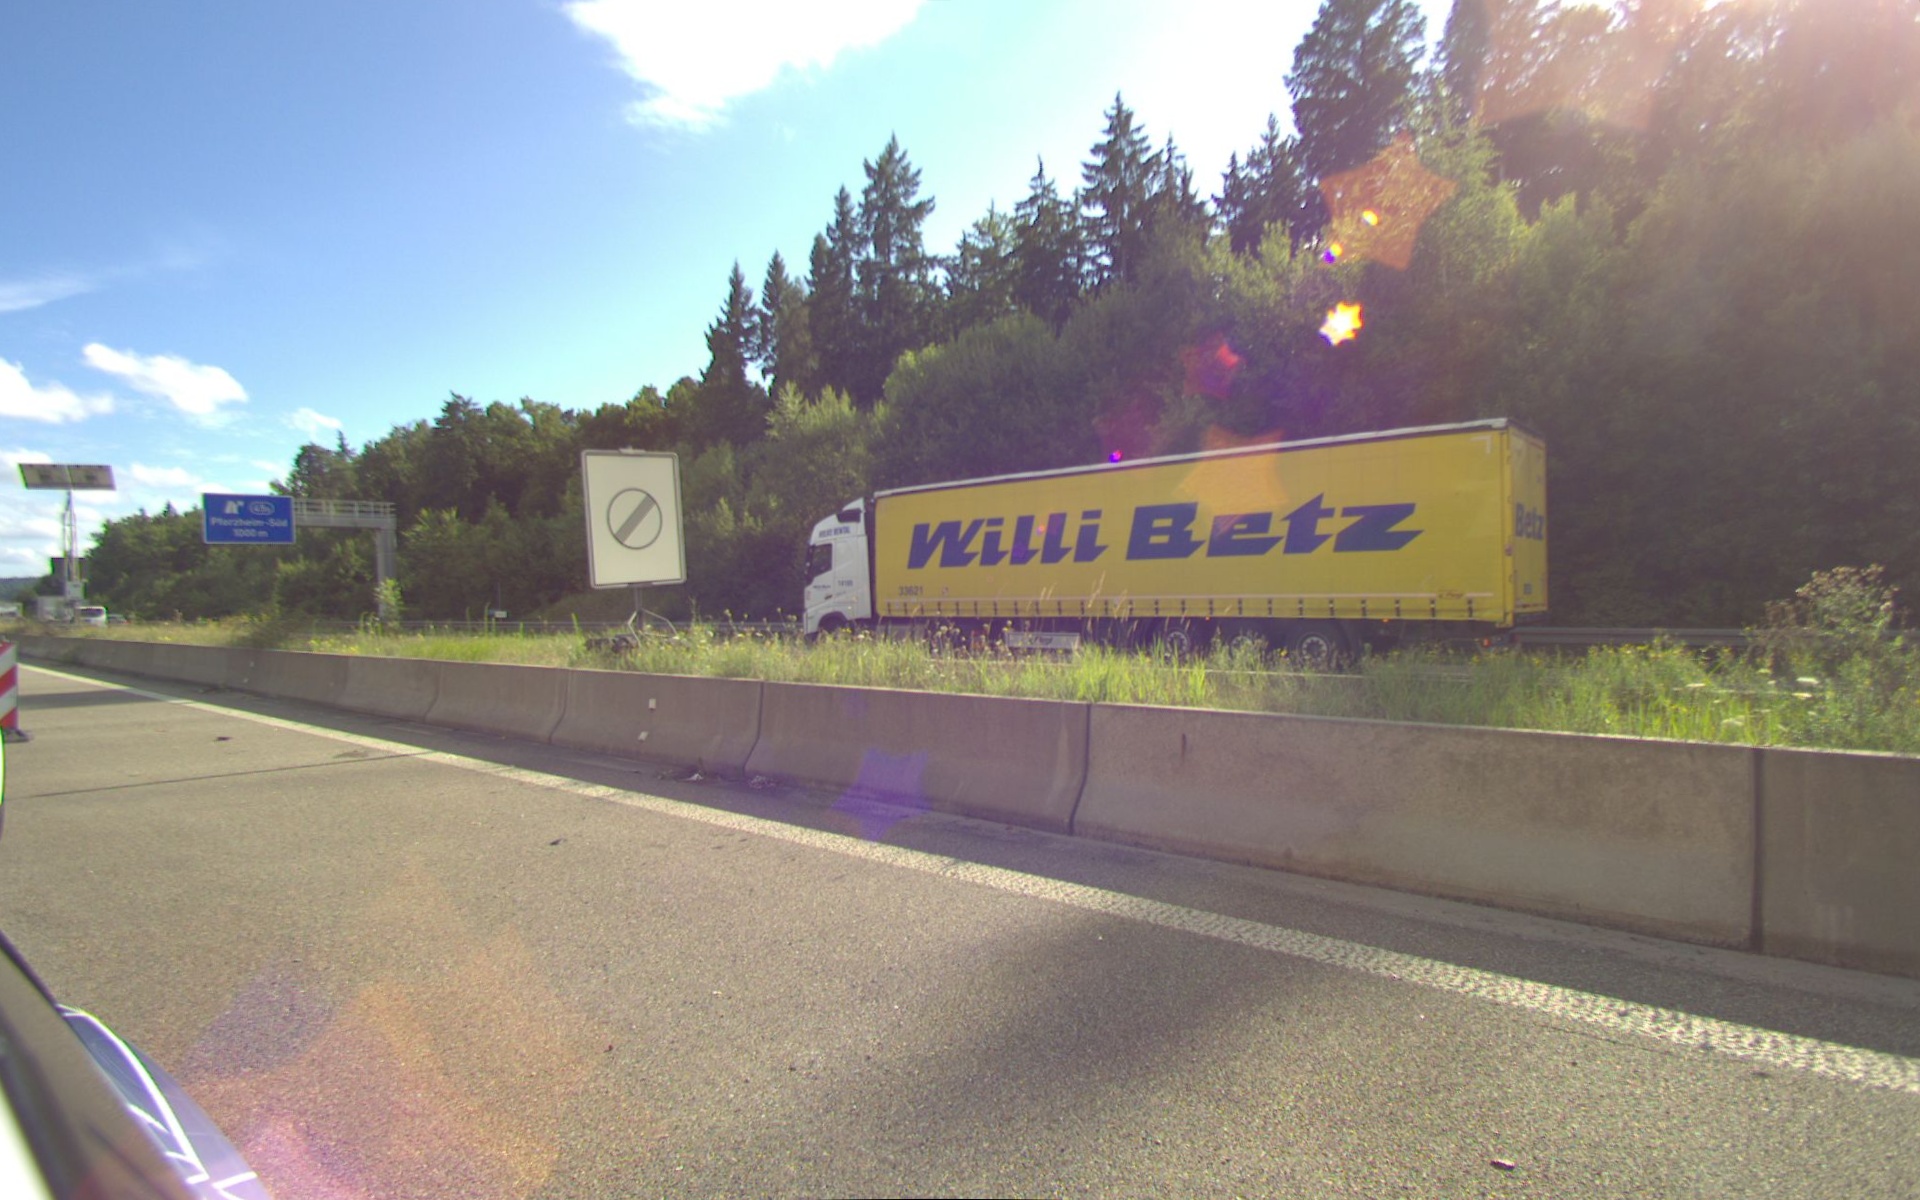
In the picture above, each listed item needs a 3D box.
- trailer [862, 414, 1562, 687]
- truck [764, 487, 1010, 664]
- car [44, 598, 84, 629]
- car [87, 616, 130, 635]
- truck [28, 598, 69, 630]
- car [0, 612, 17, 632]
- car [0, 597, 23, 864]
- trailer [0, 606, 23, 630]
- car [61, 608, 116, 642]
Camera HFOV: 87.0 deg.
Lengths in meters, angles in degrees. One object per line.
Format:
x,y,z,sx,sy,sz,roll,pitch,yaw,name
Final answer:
3.842,-0.676,20.348,13.934,3.952,2.798,-1,0,41,trailer
-1.960,-0.539,25.481,5.946,3.938,2.797,-1,0,41,truck
-102.746,1.490,115.965,7.448,3.395,2.461,-1,0,41,car
-65.246,1.910,77.547,4.286,1.373,1.938,-1,0,41,car
-118.982,1.825,132.037,10.181,4.022,2.771,-1,0,41,truck
-123.173,2.767,130.080,6.328,2.469,2.138,-1,1,41,car
-7.589,0.781,6.430,3.878,1.549,1.818,-1,0,38,car
-165.056,3.069,175.538,8.484,3.953,2.762,-1,0,41,trailer
-55.517,1.547,64.450,4.829,2.029,1.973,-1,0,41,car
